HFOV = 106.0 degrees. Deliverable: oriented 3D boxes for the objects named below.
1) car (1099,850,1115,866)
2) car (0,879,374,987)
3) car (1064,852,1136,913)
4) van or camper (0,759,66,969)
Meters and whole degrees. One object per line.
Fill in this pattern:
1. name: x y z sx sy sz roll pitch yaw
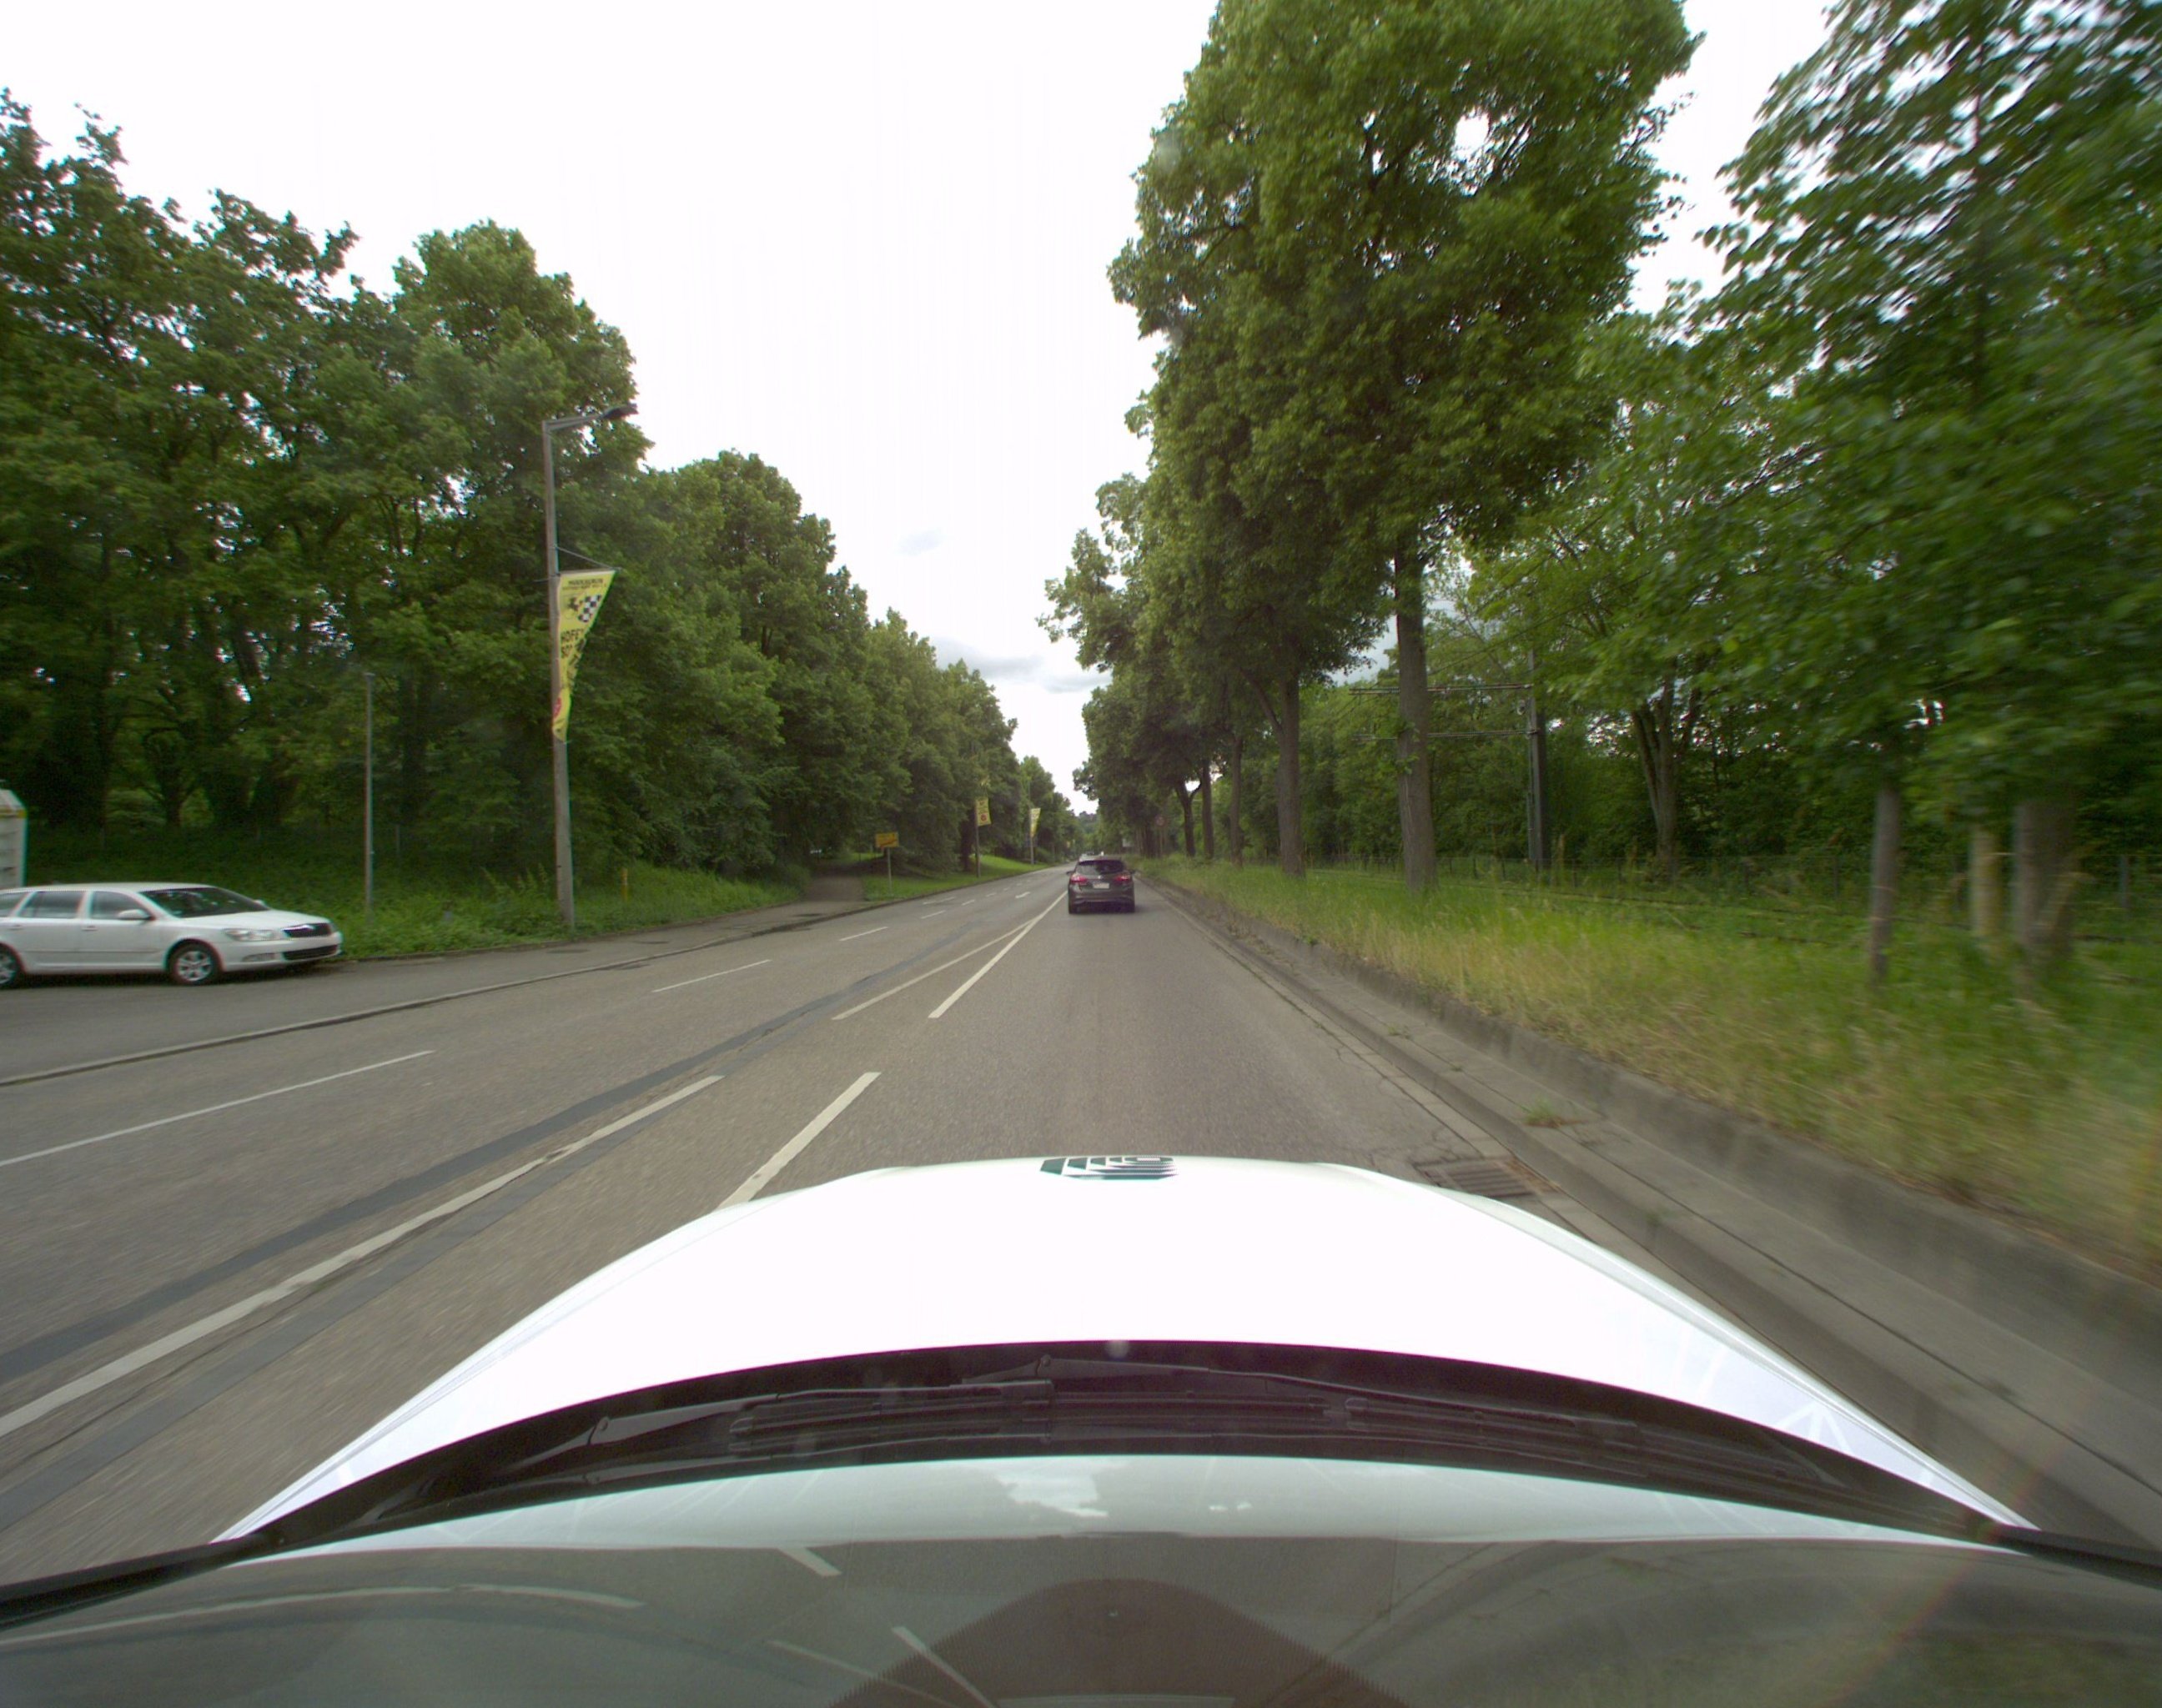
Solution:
1. car: 2.700 0.420 84.747 1.497 1.528 3.674 -1 0 3
2. car: -13.916 1.150 12.482 4.362 1.441 1.960 0 0 -1
3. car: 0.599 0.740 22.887 1.829 1.528 3.932 -1 0 3
4. van or camper: -20.824 -0.034 12.399 7.115 3.371 2.797 3 0 1
